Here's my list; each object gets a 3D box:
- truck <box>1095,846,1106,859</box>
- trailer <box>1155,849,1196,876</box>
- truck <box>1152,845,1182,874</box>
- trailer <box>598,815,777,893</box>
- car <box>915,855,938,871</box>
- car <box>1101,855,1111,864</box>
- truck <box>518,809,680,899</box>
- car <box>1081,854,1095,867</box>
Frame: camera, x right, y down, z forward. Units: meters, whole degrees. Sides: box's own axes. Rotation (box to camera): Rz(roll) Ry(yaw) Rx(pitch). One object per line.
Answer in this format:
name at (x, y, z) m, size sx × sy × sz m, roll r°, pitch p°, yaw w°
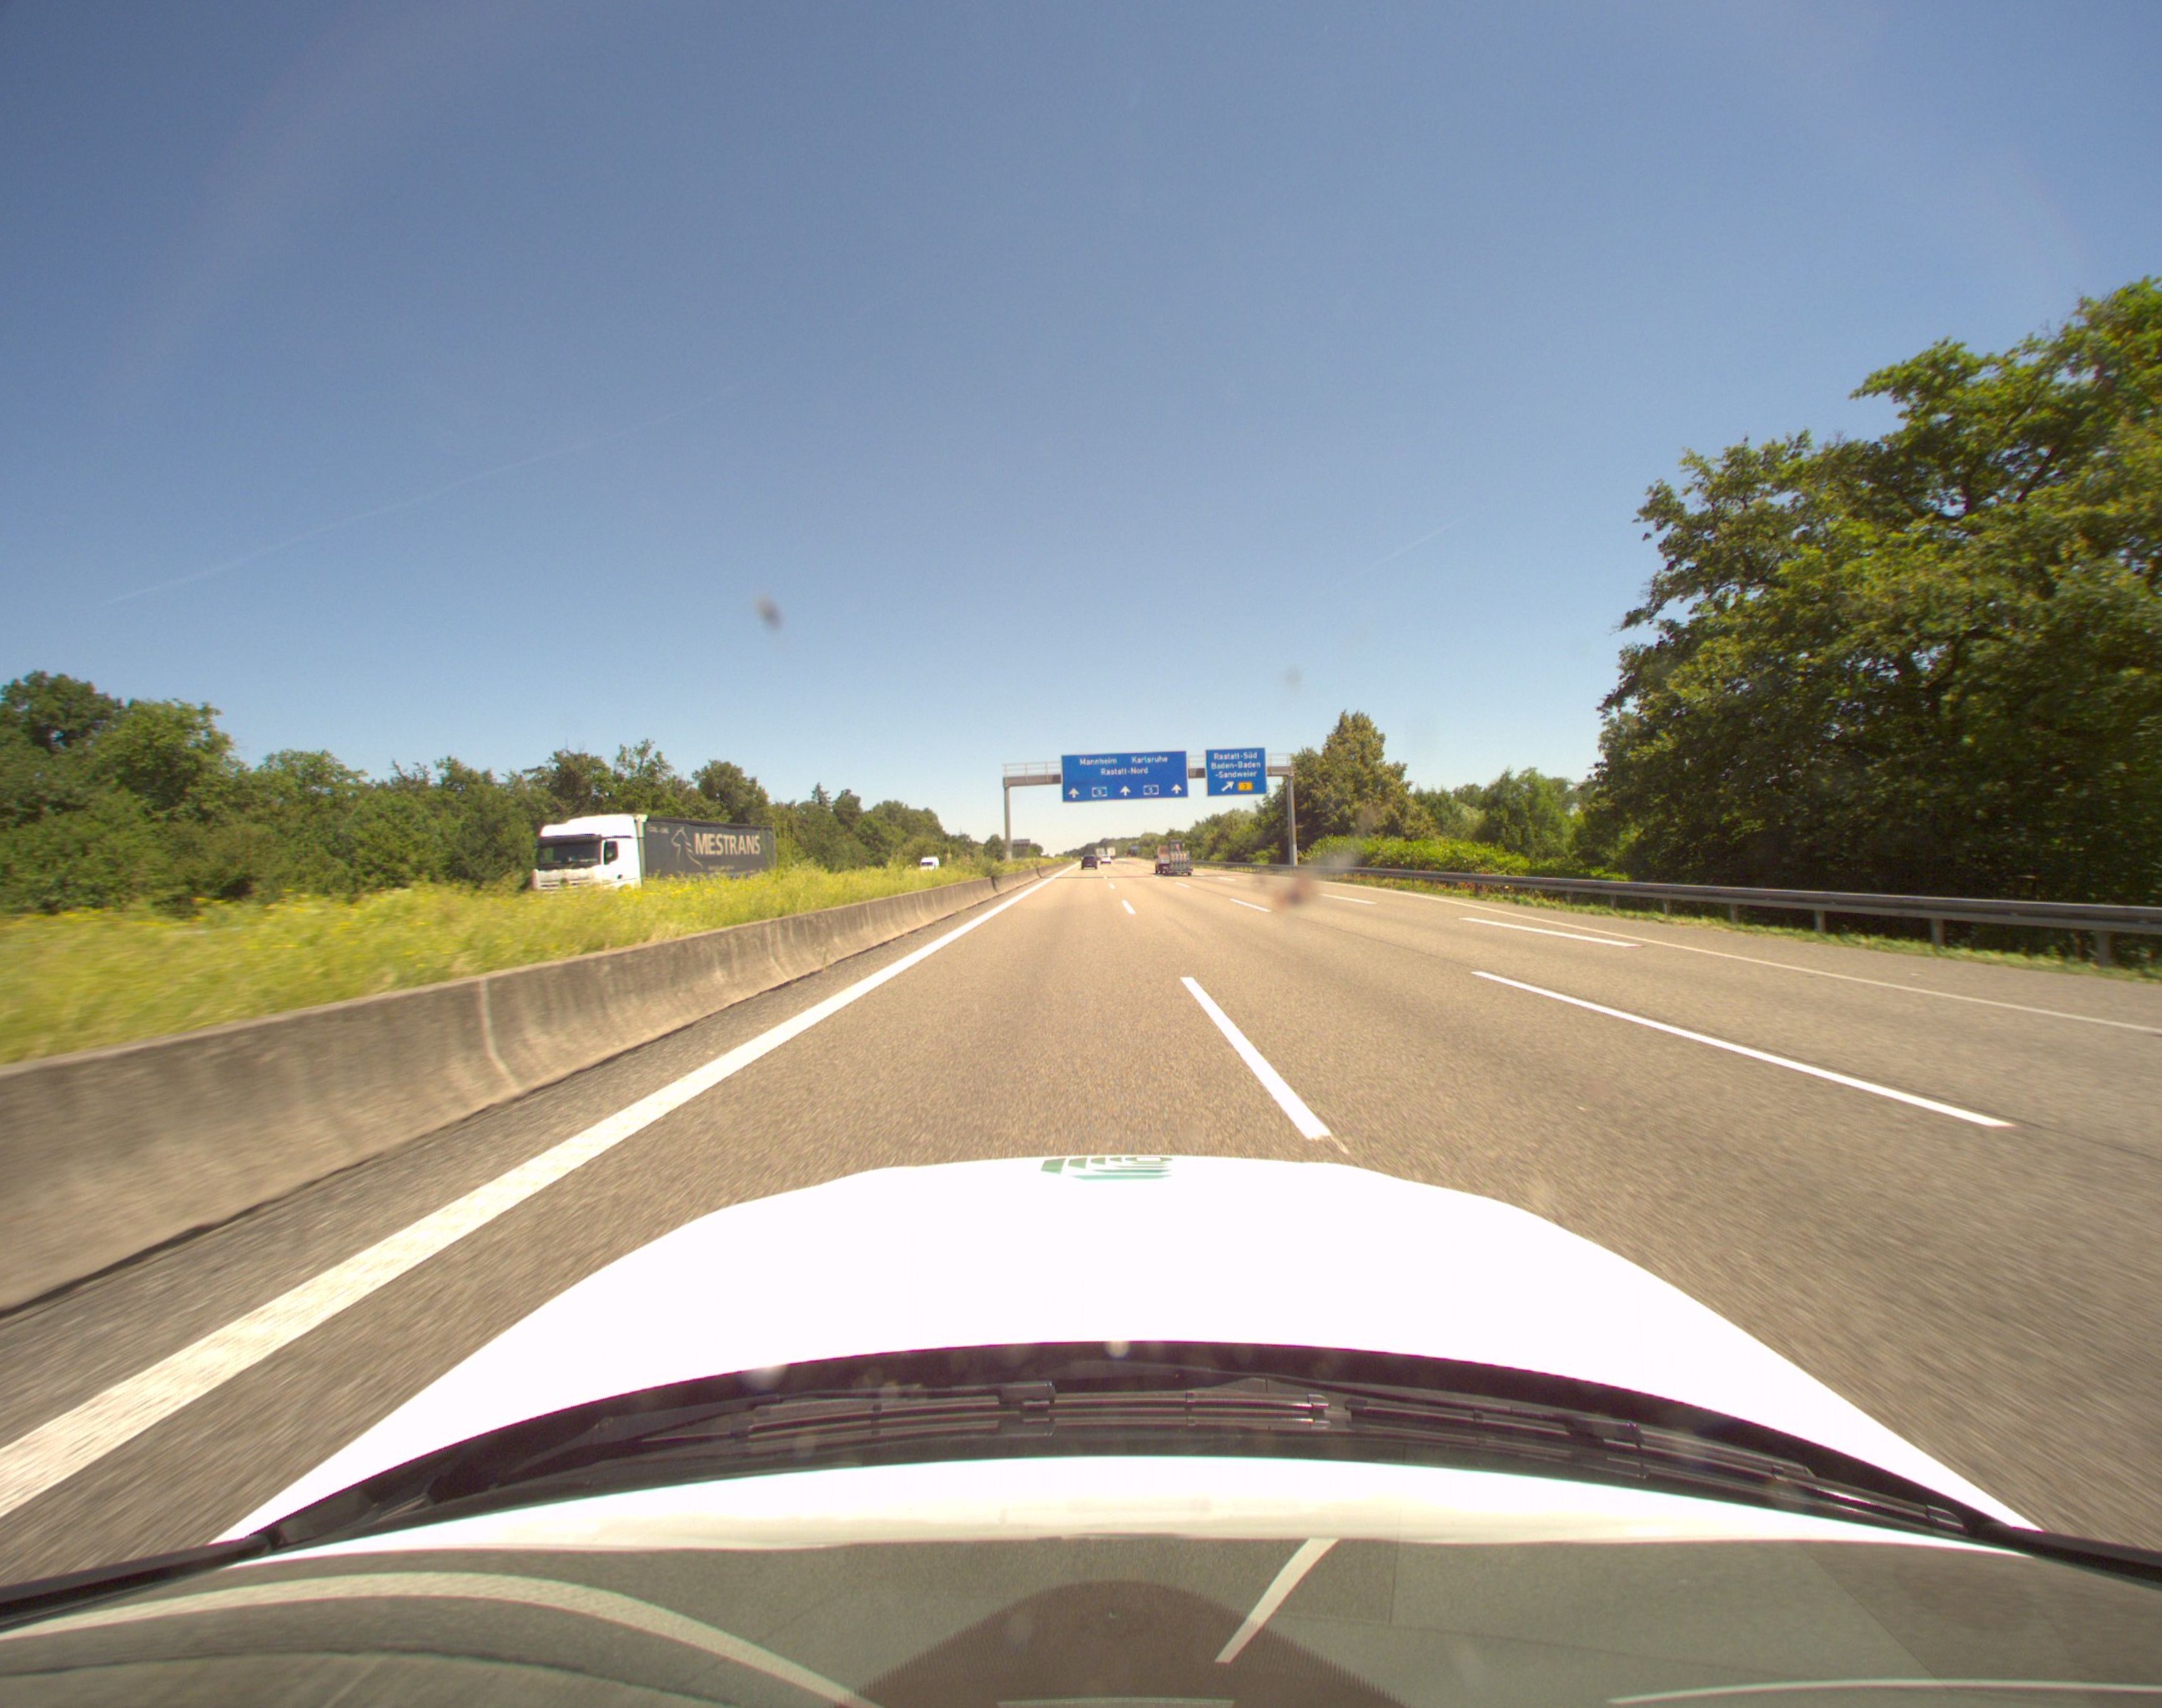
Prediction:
truck at (6.009, -0.437, 252.936) m, size 3.299 × 3.994 × 8.401 m, roll -1°, pitch -1°, yaw -1°
trailer at (7.439, 0.650, 64.767) m, size 2.413 × 2.013 × 6.031 m, roll -1°, pitch 0°, yaw -1°
truck at (7.353, 0.476, 70.130) m, size 1.988 × 2.374 × 4.642 m, roll -1°, pitch 0°, yaw -1°
trailer at (-18.015, 0.036, 38.649) m, size 2.592 × 3.102 × 11.953 m, roll -1°, pitch 0°, yaw 1°
car at (-21.189, 1.206, 111.591) m, size 1.986 × 2.013 × 5.188 m, roll -1°, pitch 0°, yaw 2°
car at (4.546, 1.038, 149.033) m, size 1.734 × 1.486 × 3.999 m, roll -1°, pitch -1°, yaw 0°
truck at (-18.111, -0.005, 31.112) m, size 2.634 × 3.084 × 5.848 m, roll -1°, pitch 0°, yaw 0°
car at (0.836, 0.794, 100.479) m, size 1.655 × 1.549 × 3.781 m, roll -2°, pitch 0°, yaw -1°
